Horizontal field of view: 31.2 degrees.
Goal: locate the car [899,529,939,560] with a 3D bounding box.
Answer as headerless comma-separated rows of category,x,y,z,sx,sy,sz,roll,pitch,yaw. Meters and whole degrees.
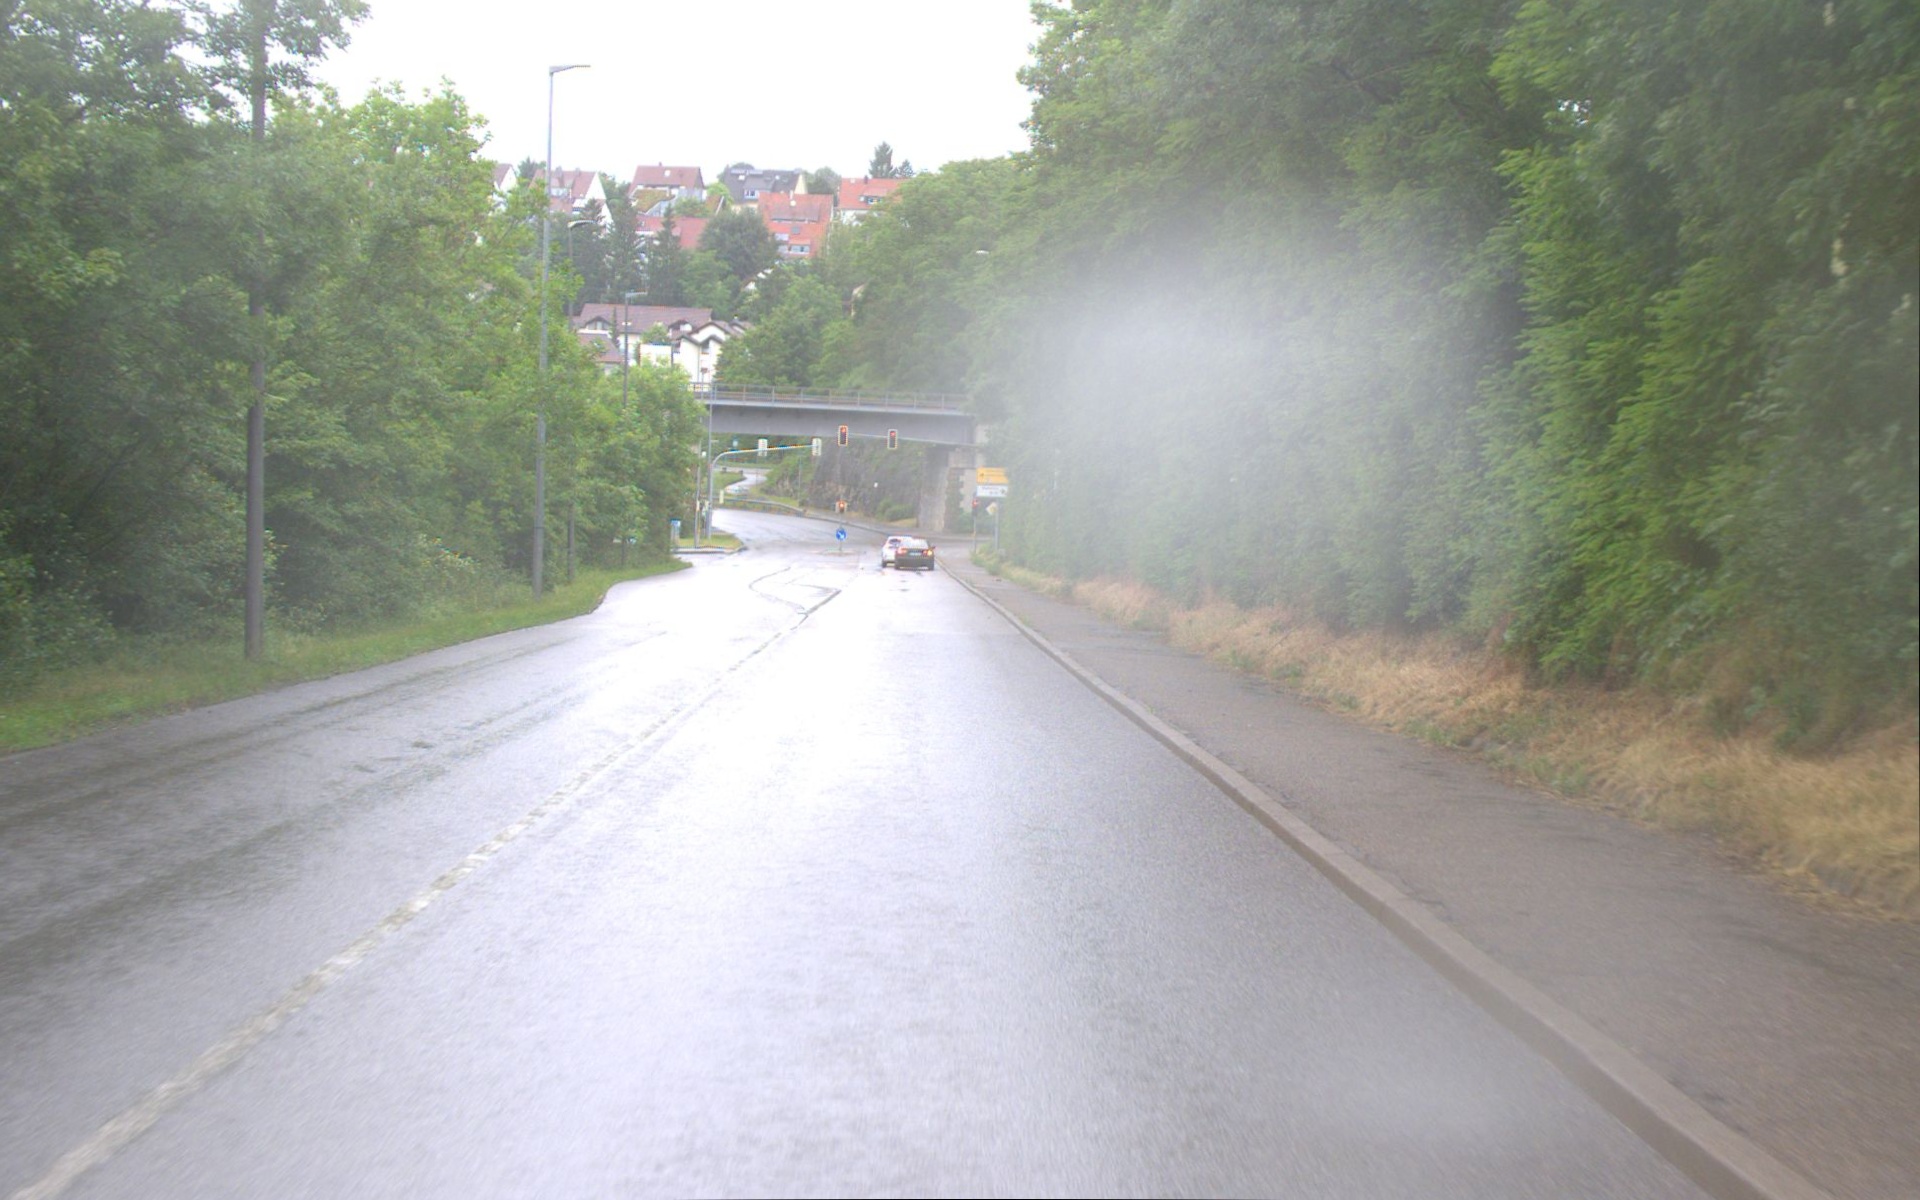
car,-1.864,-2.512,156.426,1.768,1.375,4.000,1,1,0

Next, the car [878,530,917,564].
car,-2.947,-2.519,163.090,1.768,1.557,4.000,1,1,0
